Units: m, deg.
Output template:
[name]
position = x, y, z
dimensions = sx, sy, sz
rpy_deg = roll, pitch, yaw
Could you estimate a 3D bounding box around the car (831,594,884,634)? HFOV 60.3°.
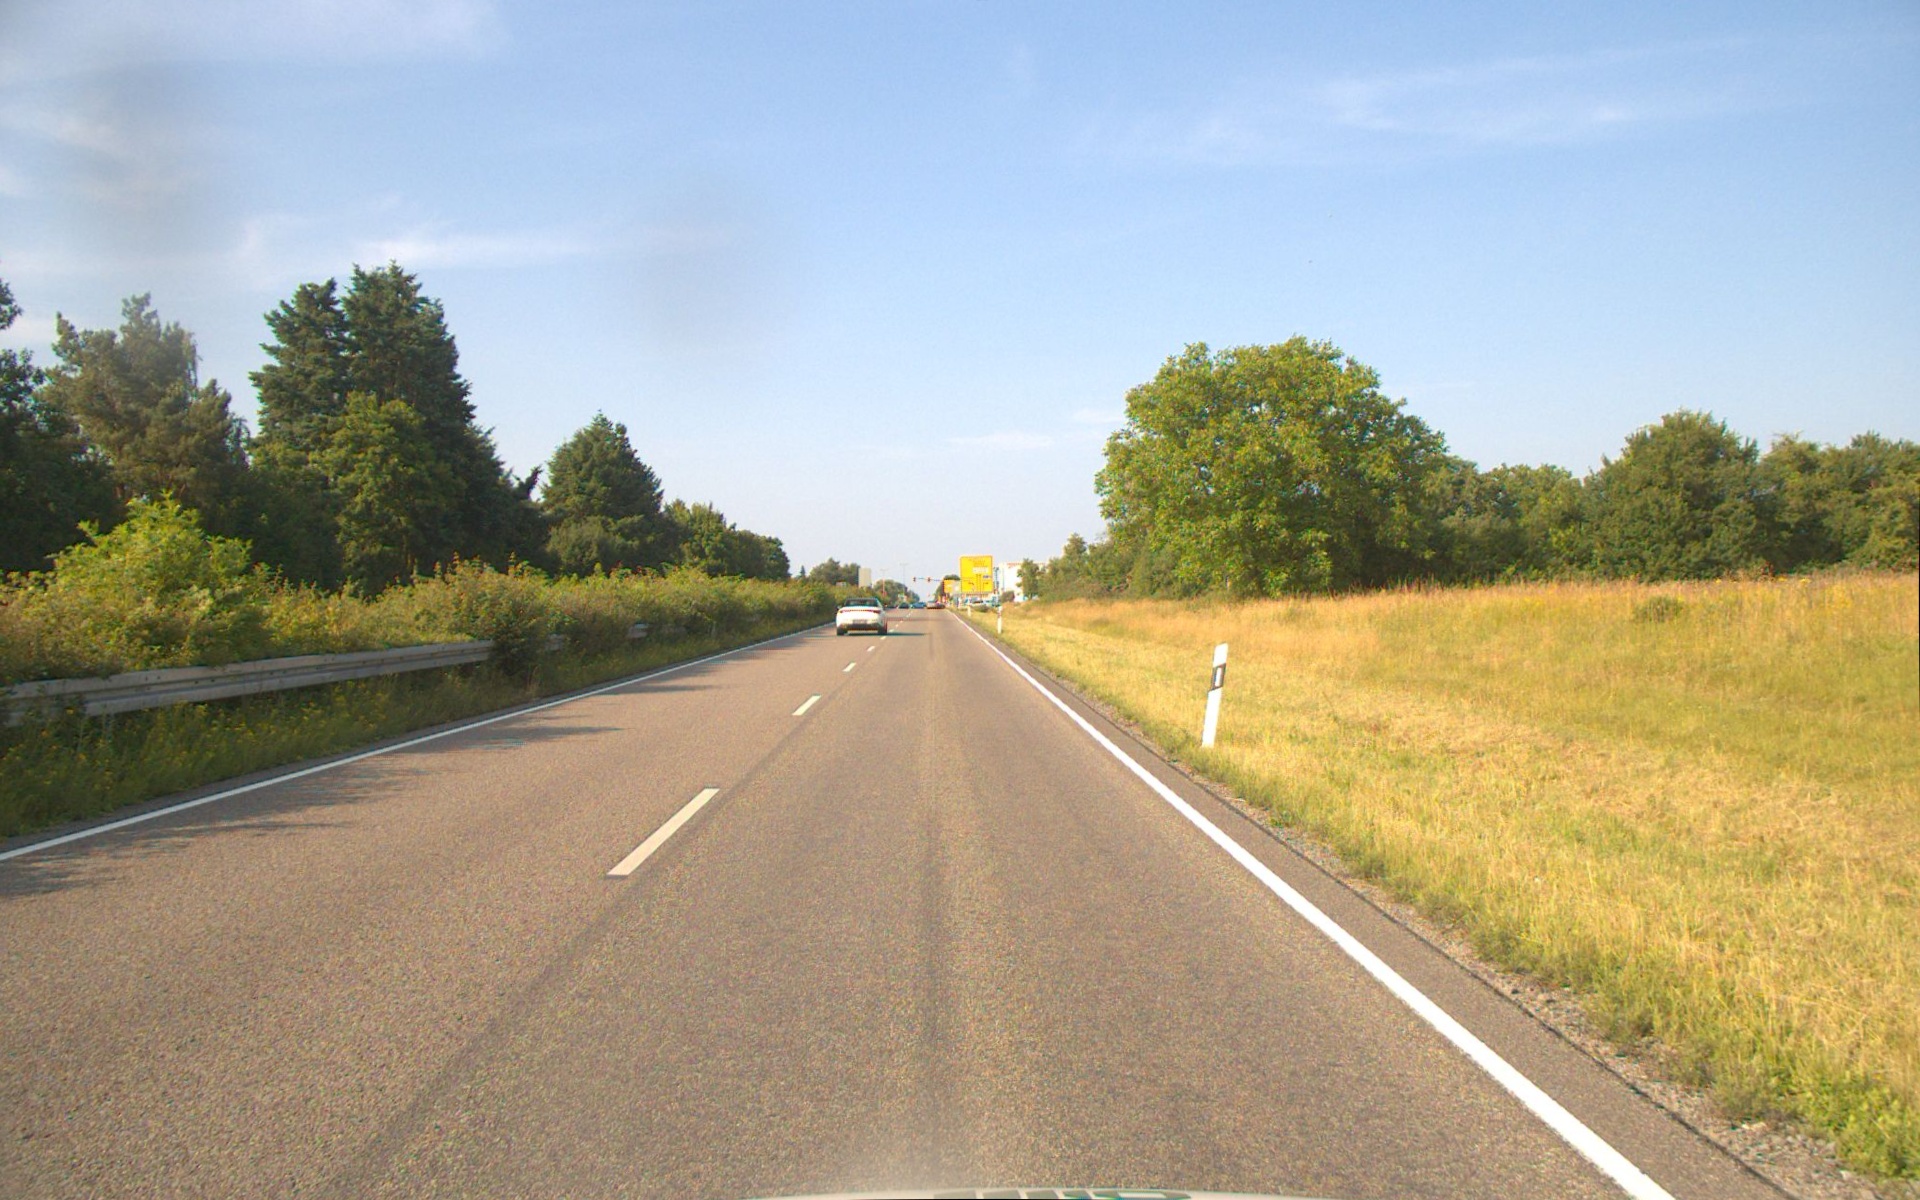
[car]
position = -3.886, 0.524, 63.227
dimensions = 1.871, 1.447, 3.999
rpy_deg = 0, 0, -2
